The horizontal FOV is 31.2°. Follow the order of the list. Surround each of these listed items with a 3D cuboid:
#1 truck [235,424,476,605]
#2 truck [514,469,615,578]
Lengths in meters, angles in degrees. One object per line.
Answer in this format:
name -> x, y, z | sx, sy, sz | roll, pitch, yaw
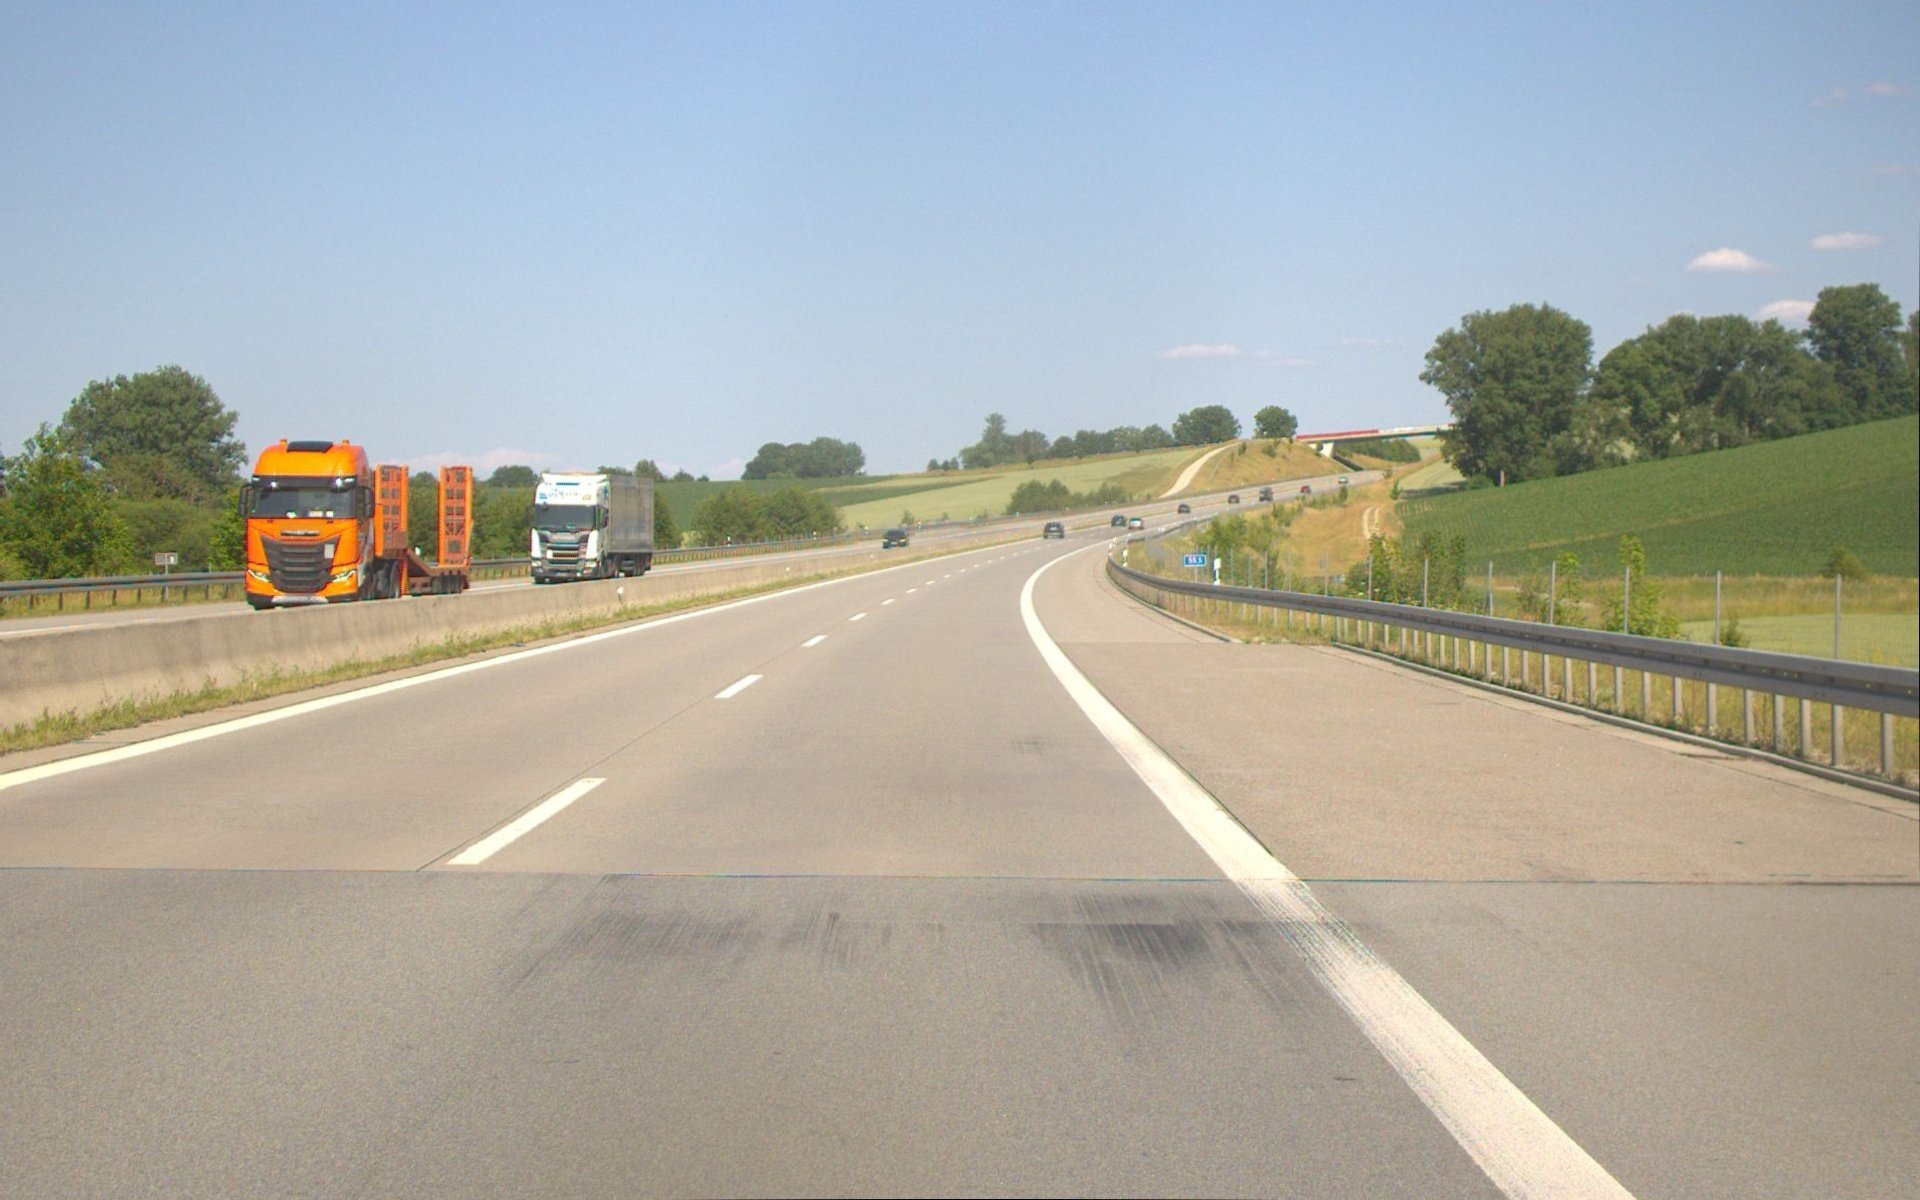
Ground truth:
truck -> -14.545, -2.031, 84.466 | 2.867, 4.002, 17.116 | 0, 1, 0
truck -> -14.378, -2.780, 125.337 | 2.861, 3.860, 5.983 | 0, 1, 1
